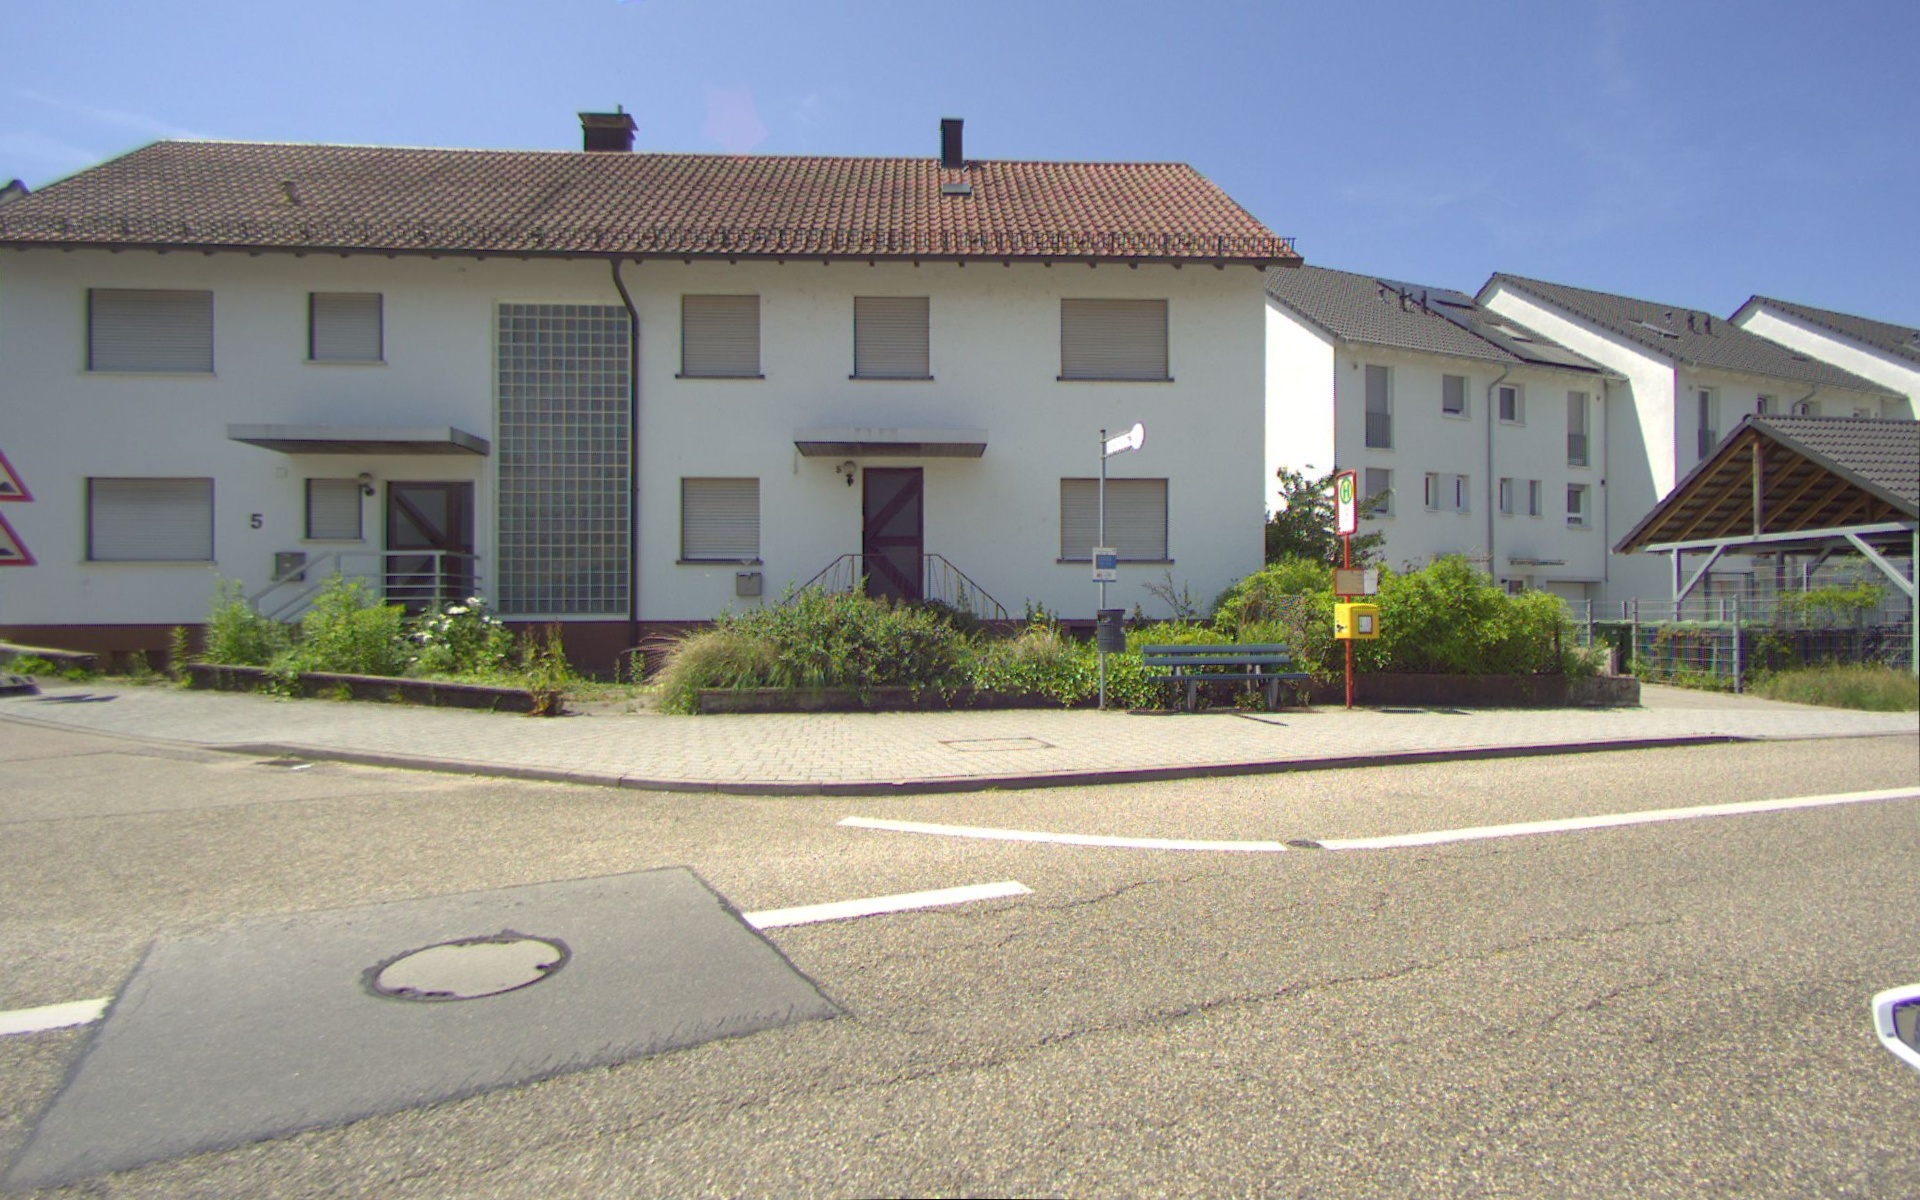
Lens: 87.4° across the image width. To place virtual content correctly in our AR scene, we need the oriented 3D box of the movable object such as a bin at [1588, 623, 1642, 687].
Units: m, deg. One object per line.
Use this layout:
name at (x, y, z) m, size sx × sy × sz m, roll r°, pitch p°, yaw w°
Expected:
movable object such as a bin at (13.557, 1.124, 20.792) m, size 0.682 × 1.295 × 0.641 m, roll 1°, pitch 0°, yaw -10°

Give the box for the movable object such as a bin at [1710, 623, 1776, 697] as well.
movable object such as a bin at (14.115, 1.075, 18.124) m, size 0.682 × 1.295 × 0.641 m, roll 1°, pitch 0°, yaw -10°

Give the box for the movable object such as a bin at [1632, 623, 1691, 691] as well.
movable object such as a bin at (13.780, 1.106, 19.741) m, size 0.682 × 1.295 × 0.641 m, roll 1°, pitch 0°, yaw -10°

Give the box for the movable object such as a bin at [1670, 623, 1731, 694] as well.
movable object such as a bin at (13.967, 1.092, 18.954) m, size 0.682 × 1.295 × 0.641 m, roll 1°, pitch 0°, yaw -10°
